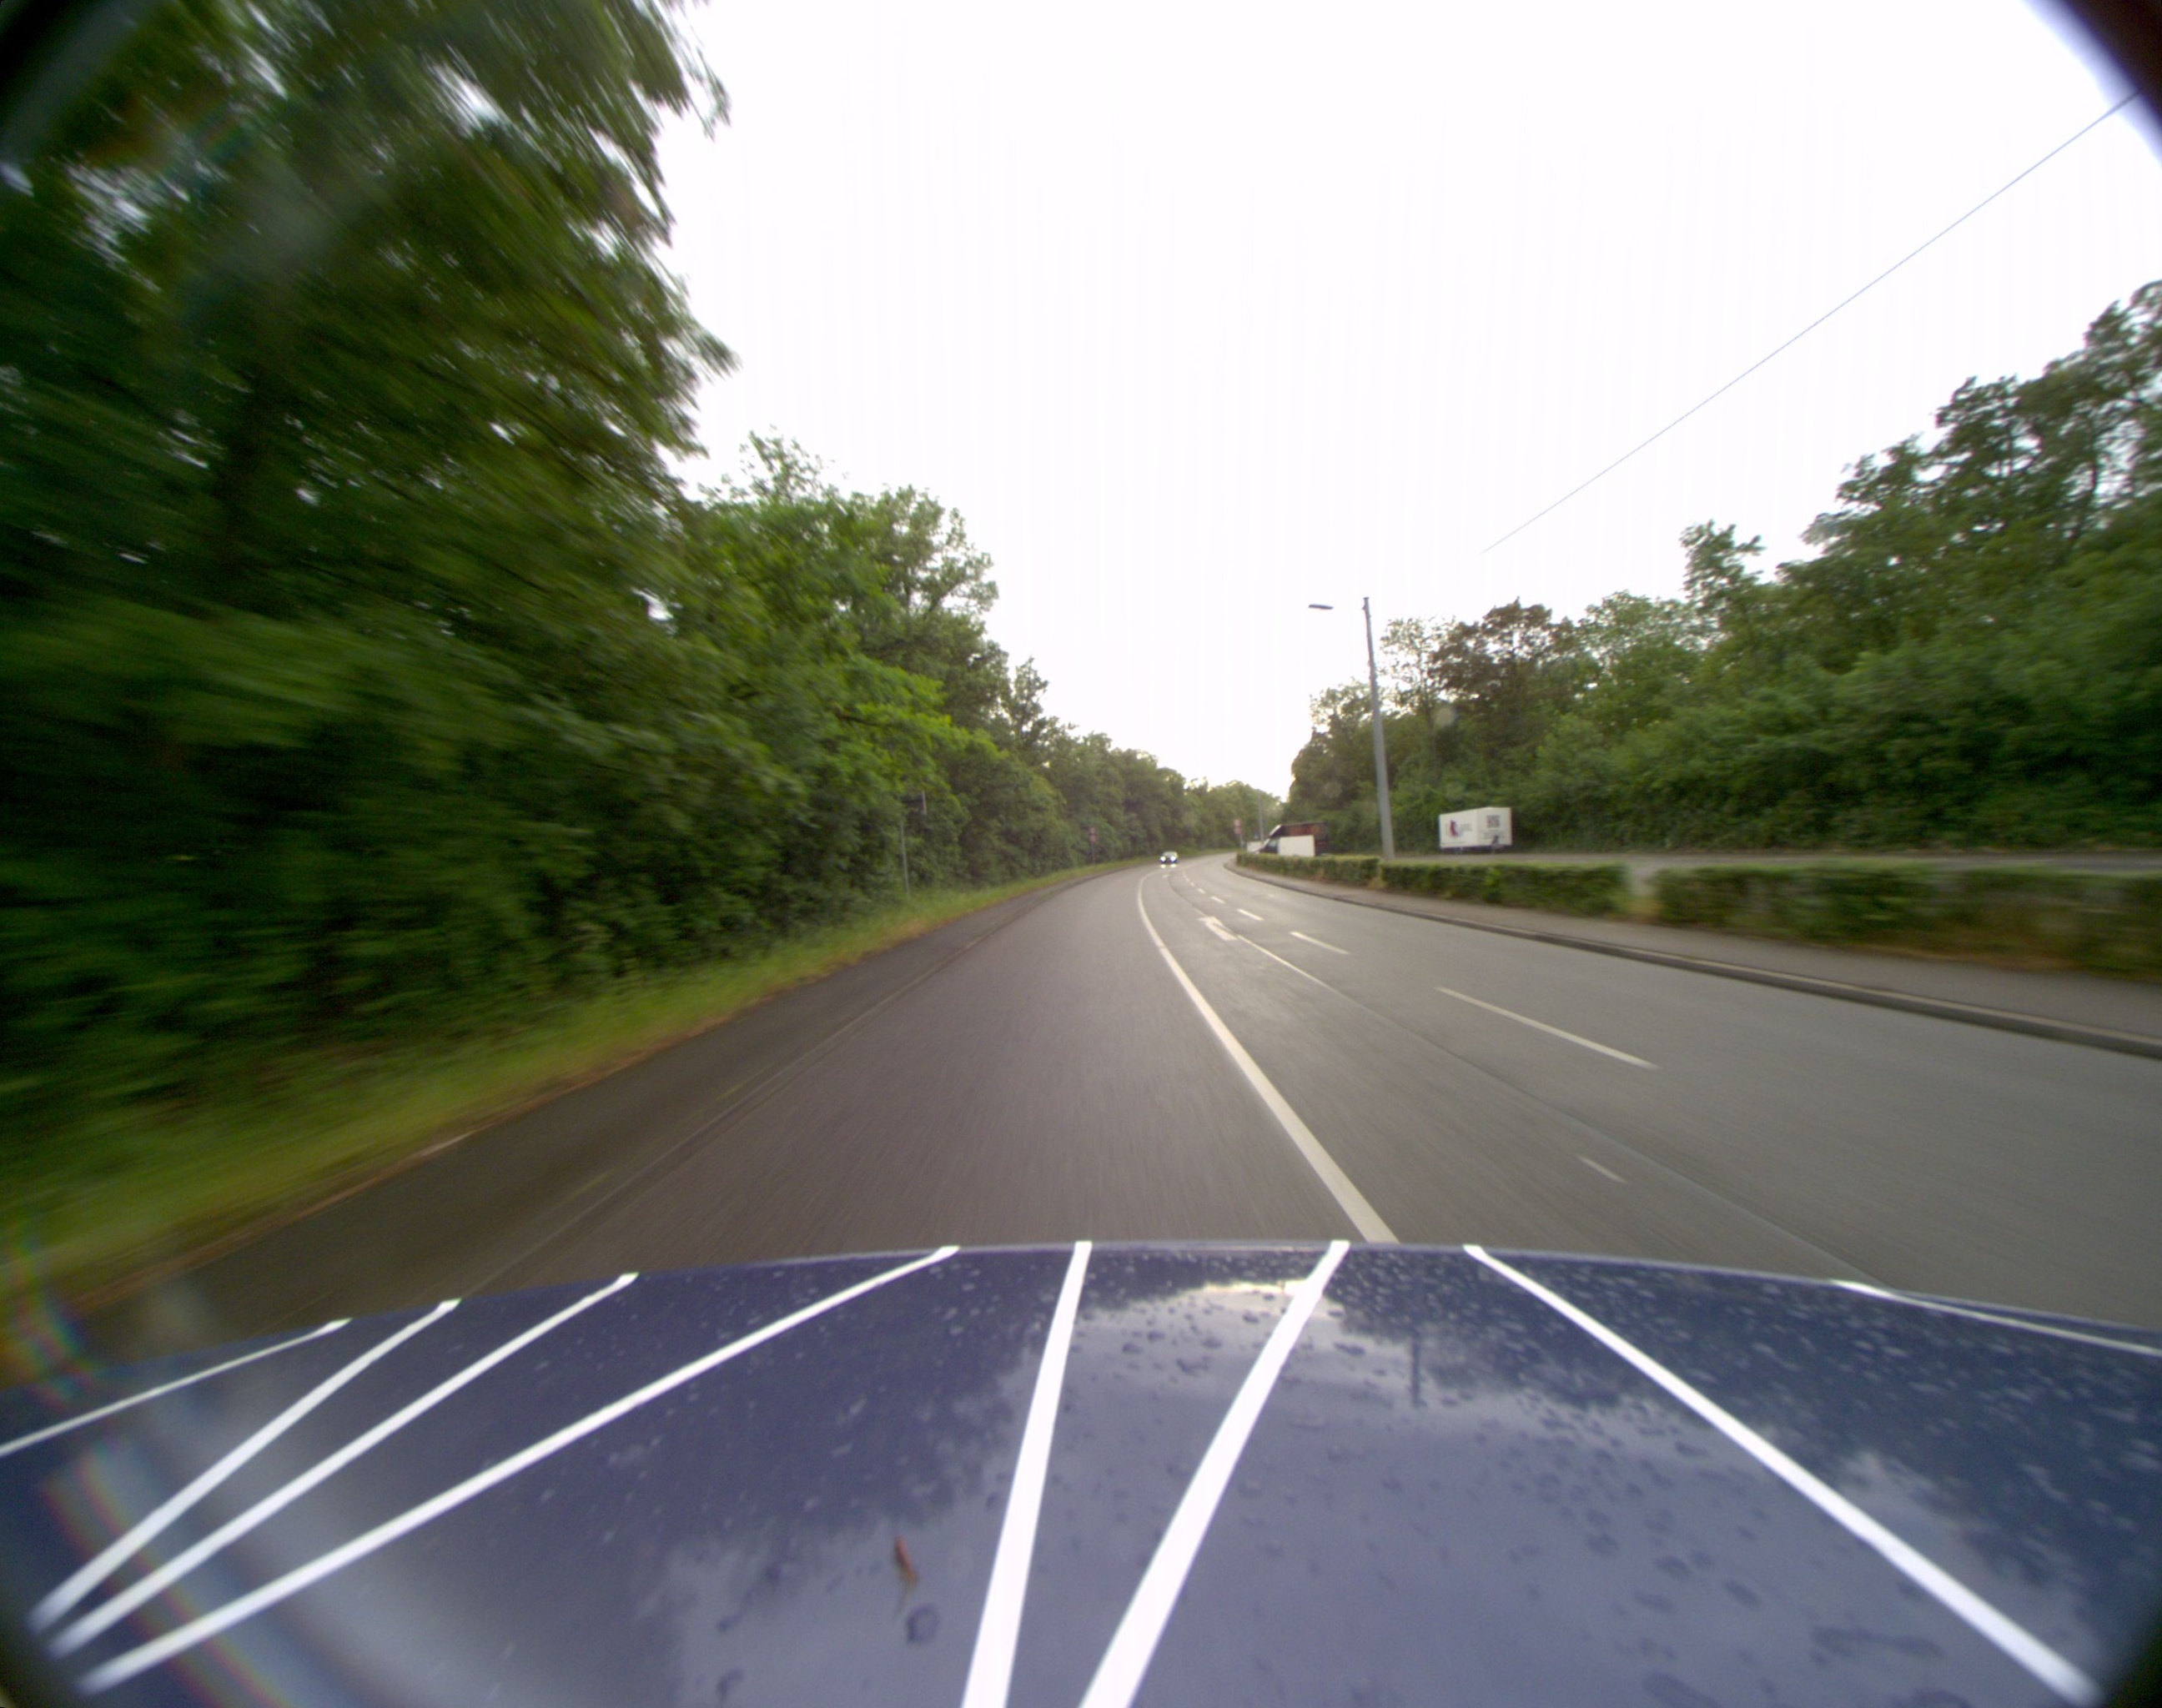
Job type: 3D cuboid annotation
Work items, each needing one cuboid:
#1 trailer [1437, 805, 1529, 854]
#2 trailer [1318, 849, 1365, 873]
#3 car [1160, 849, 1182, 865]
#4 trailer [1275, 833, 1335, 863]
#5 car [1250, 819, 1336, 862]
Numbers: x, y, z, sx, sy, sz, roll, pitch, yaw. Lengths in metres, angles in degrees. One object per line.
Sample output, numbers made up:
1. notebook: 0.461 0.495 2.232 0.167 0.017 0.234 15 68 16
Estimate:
1. trailer: 26.441 -1.527 50.409 2.481 2.857 7.979 -2 1 6
2. trailer: 12.673 0.332 36.996 1.805 1.028 1.334 -3 0 2
3. car: 10.588 0.310 89.333 1.996 1.674 4.003 -2 1 13
4. trailer: 16.831 -0.458 57.278 3.994 2.041 1.874 -3 1 9
5. car: 17.379 -1.118 62.684 6.285 3.096 2.752 -3 2 6
